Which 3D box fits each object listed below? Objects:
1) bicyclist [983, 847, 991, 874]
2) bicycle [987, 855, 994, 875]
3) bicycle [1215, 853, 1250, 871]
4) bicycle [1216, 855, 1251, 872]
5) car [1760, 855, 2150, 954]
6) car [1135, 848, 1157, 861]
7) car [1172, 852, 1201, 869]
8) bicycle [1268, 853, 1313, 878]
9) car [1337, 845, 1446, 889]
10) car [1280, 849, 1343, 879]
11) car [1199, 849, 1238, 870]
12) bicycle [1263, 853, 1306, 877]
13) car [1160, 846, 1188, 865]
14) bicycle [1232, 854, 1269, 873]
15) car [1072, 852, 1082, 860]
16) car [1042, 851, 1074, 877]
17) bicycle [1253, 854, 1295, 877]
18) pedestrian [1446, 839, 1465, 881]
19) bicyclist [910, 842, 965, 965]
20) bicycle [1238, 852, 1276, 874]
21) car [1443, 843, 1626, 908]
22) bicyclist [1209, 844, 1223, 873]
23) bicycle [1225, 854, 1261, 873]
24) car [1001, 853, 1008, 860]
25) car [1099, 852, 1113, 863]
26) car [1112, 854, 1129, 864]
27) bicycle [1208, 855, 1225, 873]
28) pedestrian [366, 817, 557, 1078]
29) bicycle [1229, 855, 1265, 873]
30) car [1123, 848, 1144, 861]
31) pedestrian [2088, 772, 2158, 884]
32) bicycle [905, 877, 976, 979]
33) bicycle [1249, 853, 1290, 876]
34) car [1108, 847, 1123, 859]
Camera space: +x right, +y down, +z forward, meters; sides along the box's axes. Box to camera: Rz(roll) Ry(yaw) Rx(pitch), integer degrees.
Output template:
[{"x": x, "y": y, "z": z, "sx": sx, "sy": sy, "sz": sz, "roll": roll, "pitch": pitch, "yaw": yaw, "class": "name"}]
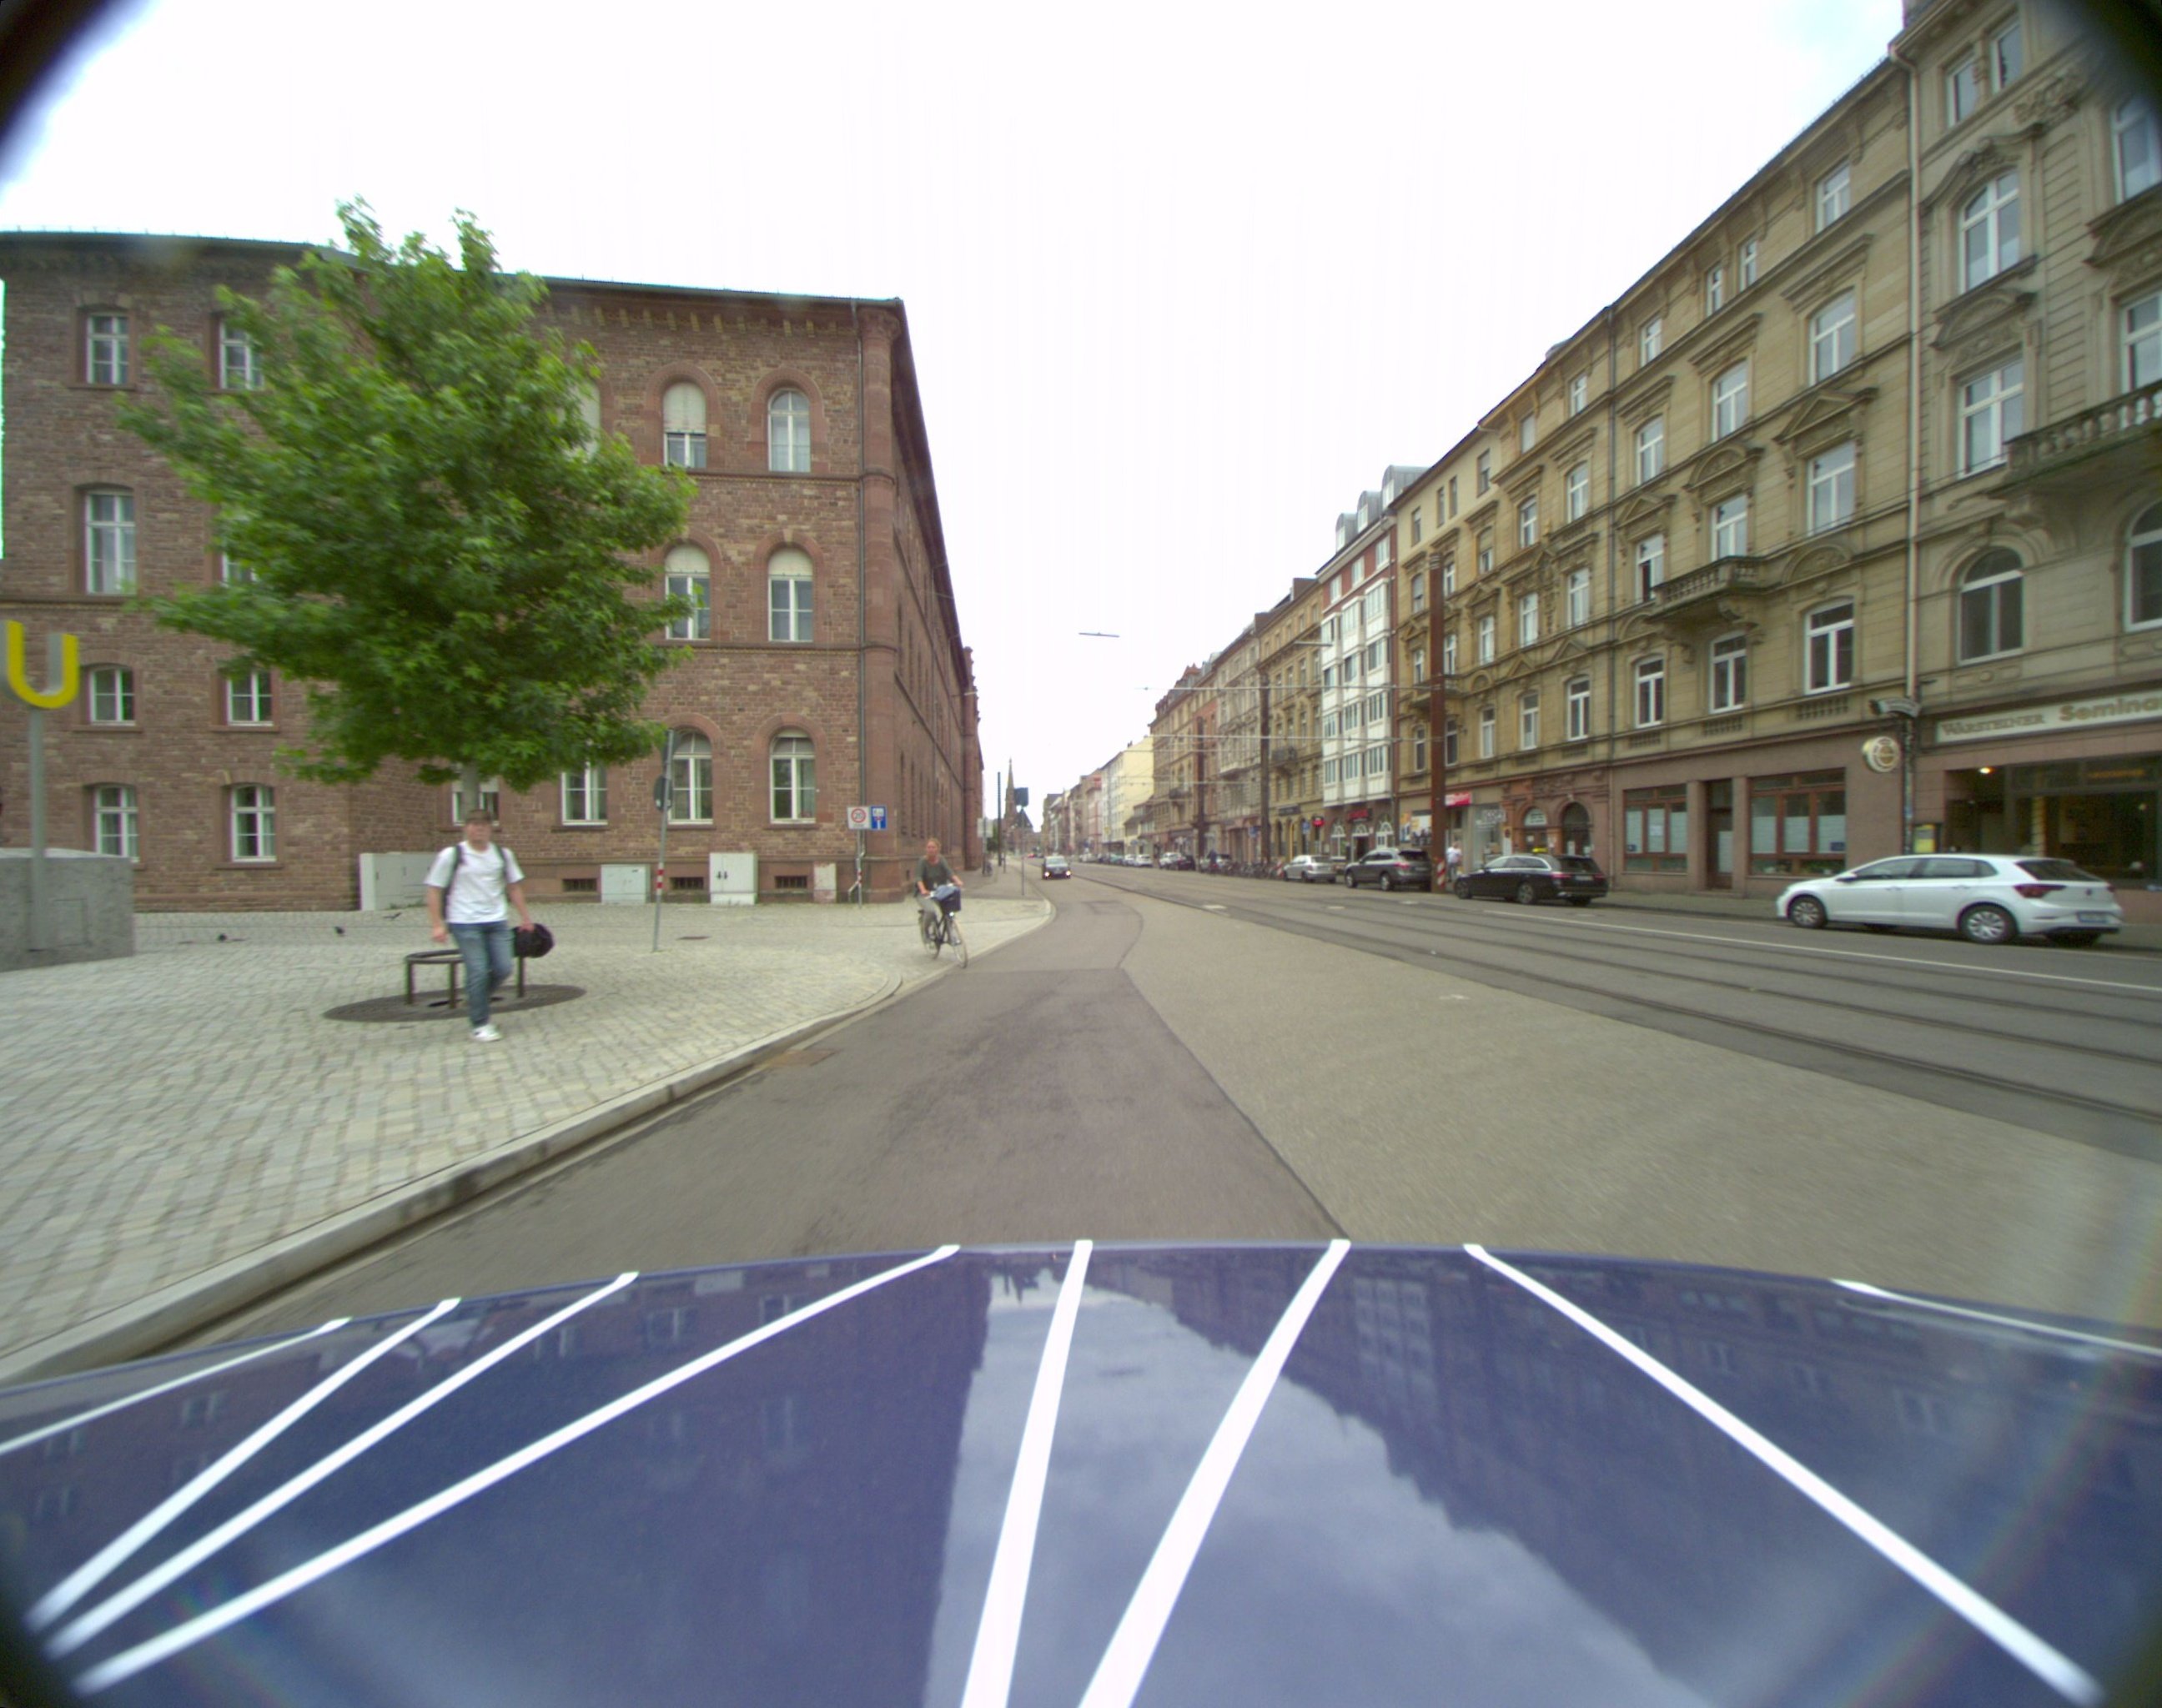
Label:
[{"x": -6.390, "y": 0.459, "z": 51.702, "sx": 0.530, "sy": 1.847, "sz": 0.450, "roll": 0, "pitch": 1, "yaw": -6, "class": "bicyclist"}, {"x": -6.212, "y": 0.749, "z": 52.211, "sx": 0.446, "sy": 1.269, "sz": 2.225, "roll": 1, "pitch": 0, "yaw": -6, "class": "bicycle"}, {"x": 10.678, "y": 0.577, "z": 53.572, "sx": 2.289, "sy": 1.196, "sz": 0.547, "roll": -1, "pitch": 1, "yaw": -6, "class": "bicycle"}, {"x": 10.616, "y": 0.658, "z": 52.878, "sx": 2.289, "sy": 1.196, "sz": 0.704, "roll": 1, "pitch": 1, "yaw": -6, "class": "bicycle"}, {"x": 14.762, "y": 0.752, "z": 13.271, "sx": 1.776, "sy": 1.414, "sz": 4.162, "roll": 2, "pitch": 0, "yaw": -7, "class": "car"}, {"x": 7.359, "y": 0.058, "z": 86.595, "sx": 1.749, "sy": 1.456, "sz": 4.043, "roll": 0, "pitch": 0, "yaw": -6, "class": "car"}, {"x": 9.354, "y": 0.537, "z": 67.678, "sx": 1.749, "sy": 1.479, "sz": 3.918, "roll": 0, "pitch": 0, "yaw": -5, "class": "car"}, {"x": 11.739, "y": 0.637, "z": 42.619, "sx": 2.289, "sy": 1.321, "sz": 0.666, "roll": 1, "pitch": 1, "yaw": -6, "class": "bicycle"}, {"x": 12.674, "y": 0.495, "z": 31.432, "sx": 1.819, "sy": 1.680, "sz": 5.027, "roll": 0, "pitch": 0, "yaw": -9, "class": "car"}, {"x": 11.945, "y": 0.517, "z": 39.607, "sx": 1.749, "sy": 1.479, "sz": 3.918, "roll": 0, "pitch": 0, "yaw": -7, "class": "car"}, {"x": 10.373, "y": 0.421, "z": 57.533, "sx": 1.749, "sy": 1.524, "sz": 4.223, "roll": 0, "pitch": 0, "yaw": -6, "class": "car"}, {"x": 11.619, "y": 0.627, "z": 43.332, "sx": 2.289, "sy": 1.321, "sz": 0.521, "roll": 1, "pitch": 1, "yaw": -6, "class": "bicycle"}, {"x": 8.848, "y": 0.142, "z": 72.210, "sx": 1.749, "sy": 1.663, "sz": 4.043, "roll": 0, "pitch": 0, "yaw": -6, "class": "car"}, {"x": 11.178, "y": 0.638, "z": 50.134, "sx": 2.289, "sy": 1.196, "sz": 0.666, "roll": 1, "pitch": 1, "yaw": -6, "class": "bicycle"}, {"x": -0.904, "y": 0.410, "z": 161.459, "sx": 1.869, "sy": 1.553, "sz": 3.997, "roll": 1, "pitch": 0, "yaw": -6, "class": "car"}, {"x": -1.529, "y": 0.625, "z": 49.252, "sx": 1.748, "sy": 1.538, "sz": 3.648, "roll": -1, "pitch": 1, "yaw": -7, "class": "car"}, {"x": 11.505, "y": 0.661, "z": 45.240, "sx": 2.289, "sy": 1.321, "sz": 0.666, "roll": 1, "pitch": 1, "yaw": -6, "class": "bicycle"}, {"x": 16.294, "y": 0.262, "z": 33.057, "sx": 0.653, "sy": 1.772, "sz": 0.787, "roll": -1, "pitch": 1, "yaw": 31, "class": "pedestrian"}, {"x": -2.065, "y": 0.674, "z": 10.882, "sx": 0.571, "sy": 1.674, "sz": 0.792, "roll": -1, "pitch": 1, "yaw": -24, "class": "bicyclist"}, {"x": 11.314, "y": 0.580, "z": 48.888, "sx": 2.289, "sy": 1.321, "sz": 0.666, "roll": 1, "pitch": 1, "yaw": -6, "class": "bicycle"}, {"x": 13.256, "y": 0.561, "z": 22.688, "sx": 1.925, "sy": 1.679, "sz": 5.048, "roll": 2, "pitch": 0, "yaw": -7, "class": "car"}, {"x": 8.941, "y": 0.271, "z": 50.356, "sx": 0.647, "sy": 1.872, "sz": 1.028, "roll": -2, "pitch": 1, "yaw": -4, "class": "bicyclist"}, {"x": 10.978, "y": 0.641, "z": 51.610, "sx": 2.289, "sy": 1.196, "sz": 0.704, "roll": 1, "pitch": 1, "yaw": -6, "class": "bicycle"}, {"x": -20.143, "y": 0.612, "z": 200.765, "sx": 1.836, "sy": 1.652, "sz": 3.997, "roll": -2, "pitch": 1, "yaw": -6, "class": "car"}, {"x": 3.955, "y": 0.471, "z": 120.834, "sx": 1.705, "sy": 1.662, "sz": 4.179, "roll": -2, "pitch": 1, "yaw": -5, "class": "car"}, {"x": 5.501, "y": 0.675, "z": 106.206, "sx": 1.652, "sy": 1.373, "sz": 3.433, "roll": 0, "pitch": 0, "yaw": -9, "class": "car"}, {"x": 8.956, "y": 0.650, "z": 50.337, "sx": 0.586, "sy": 1.167, "sz": 2.044, "roll": 1, "pitch": 0, "yaw": -4, "class": "bicycle"}, {"x": -4.788, "y": 0.686, "z": 5.938, "sx": 0.872, "sy": 1.890, "sz": 0.772, "roll": 1, "pitch": 0, "yaw": -7, "class": "pedestrian"}, {"x": 11.102, "y": 0.663, "z": 50.844, "sx": 2.289, "sy": 1.196, "sz": 0.666, "roll": 1, "pitch": 1, "yaw": -6, "class": "bicycle"}, {"x": 6.331, "y": 0.067, "z": 91.577, "sx": 1.830, "sy": 1.512, "sz": 4.543, "roll": 0, "pitch": 0, "yaw": -6, "class": "car"}, {"x": 19.172, "y": -0.468, "z": 13.992, "sx": 0.711, "sy": 2.002, "sz": 0.746, "roll": -2, "pitch": 1, "yaw": -36, "class": "pedestrian"}, {"x": -2.044, "y": 0.988, "z": 10.880, "sx": 0.525, "sy": 1.253, "sz": 1.937, "roll": -1, "pitch": 1, "yaw": -24, "class": "bicycle"}, {"x": 11.432, "y": 0.630, "z": 46.064, "sx": 2.289, "sy": 1.321, "sz": 0.666, "roll": 1, "pitch": 1, "yaw": -6, "class": "bicycle"}, {"x": 4.962, "y": -0.192, "z": 110.636, "sx": 1.708, "sy": 1.747, "sz": 3.918, "roll": 0, "pitch": 0, "yaw": -4, "class": "car"}]
